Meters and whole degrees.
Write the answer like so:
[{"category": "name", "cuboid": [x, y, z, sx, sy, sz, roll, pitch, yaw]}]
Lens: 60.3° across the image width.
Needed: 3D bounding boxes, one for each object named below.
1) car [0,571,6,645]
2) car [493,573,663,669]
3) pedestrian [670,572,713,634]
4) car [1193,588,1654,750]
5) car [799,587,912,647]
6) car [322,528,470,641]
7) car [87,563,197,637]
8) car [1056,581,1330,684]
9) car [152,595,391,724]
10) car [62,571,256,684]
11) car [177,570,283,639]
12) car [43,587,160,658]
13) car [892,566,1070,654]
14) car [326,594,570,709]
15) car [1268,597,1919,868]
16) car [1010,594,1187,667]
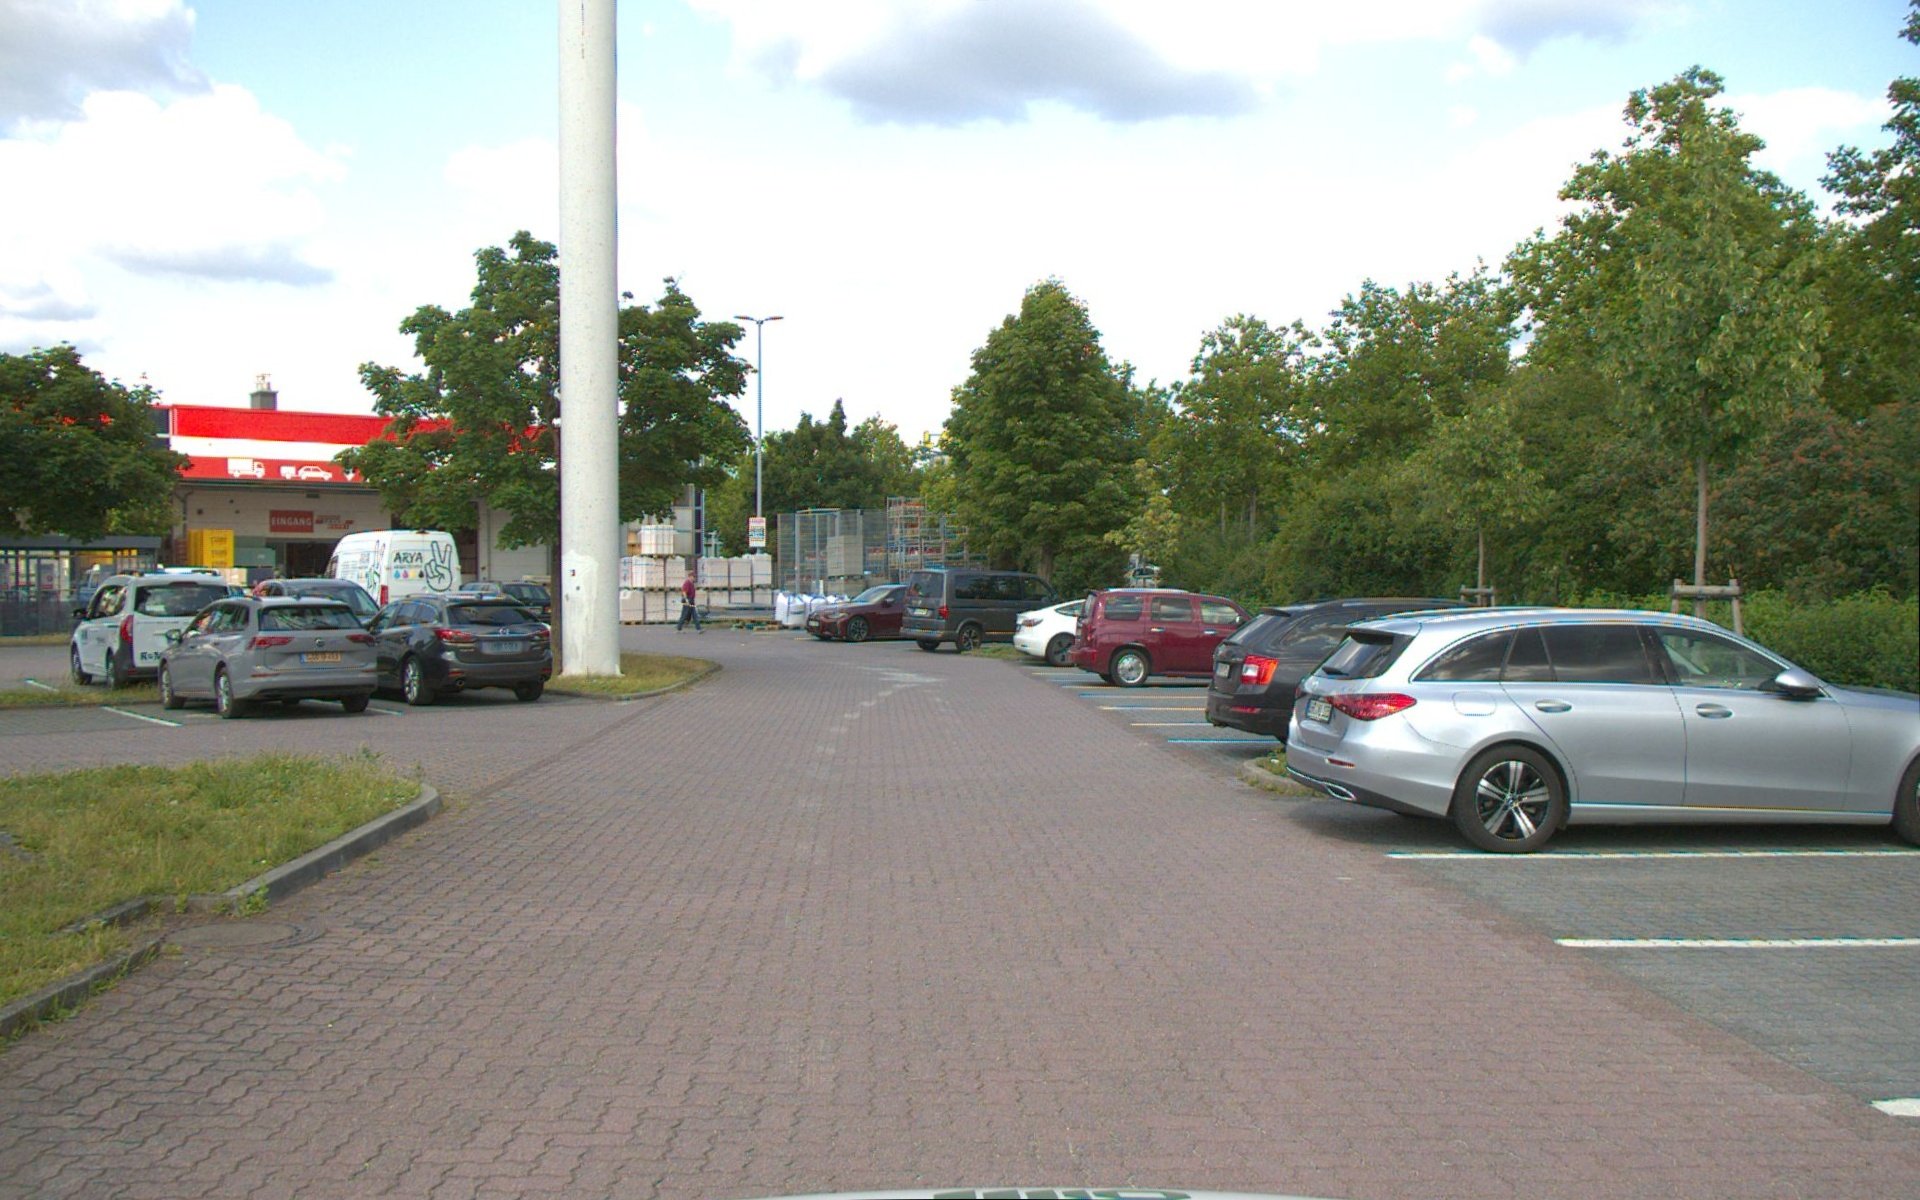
[{"category": "car", "cuboid": [-28.505, 0.180, 46.698, 1.982, 2.049, 3.941, 3, -2, -40]}, {"category": "car", "cuboid": [-7.127, 0.346, 30.588, 1.973, 1.646, 3.958, -1, 0, -31]}, {"category": "pedestrian", "cuboid": [-7.494, 0.078, 46.131, 0.901, 1.695, 0.784, 0, 0, 24]}, {"category": "car", "cuboid": [4.341, 0.653, 15.818, 3.909, 1.405, 1.697, 1, -2, -5]}, {"category": "car", "cuboid": [-2.773, 0.466, 43.972, 2.653, 1.457, 1.341, 3, -2, -31]}, {"category": "car", "cuboid": [-13.732, -0.382, 40.108, 2.032, 2.554, 4.666, 1, 0, -37]}, {"category": "car", "cuboid": [-24.521, 0.026, 49.530, 1.982, 2.049, 3.941, 3, -2, -40]}, {"category": "car", "cuboid": [3.844, 0.509, 27.761, 4.223, 1.624, 1.998, -1, 0, -6]}, {"category": "car", "cuboid": [-8.830, 0.680, 21.082, 1.710, 1.472, 3.716, -1, 1, -42]}, {"category": "car", "cuboid": [-12.622, 0.380, 25.955, 1.892, 1.624, 3.943, -1, 1, -39]}, {"category": "car", "cuboid": [-22.820, 0.155, 51.654, 1.982, 2.049, 3.941, 1, -1, -41]}, {"category": "car", "cuboid": [-18.532, 0.481, 35.657, 1.527, 1.430, 3.574, 3, -2, -39]}, {"category": "car", "cuboid": [0.525, 0.289, 40.535, 4.008, 2.054, 1.924, 1, -1, -34]}, {"category": "car", "cuboid": [-7.295, 0.659, 23.355, 1.812, 1.464, 4.028, -1, 1, -42]}, {"category": "car", "cuboid": [4.477, 0.778, 10.802, 4.548, 1.531, 1.783, -1, 0, -4]}, {"category": "car", "cuboid": [2.906, 0.648, 35.166, 3.560, 1.494, 1.632, 0, -1, -4]}]
